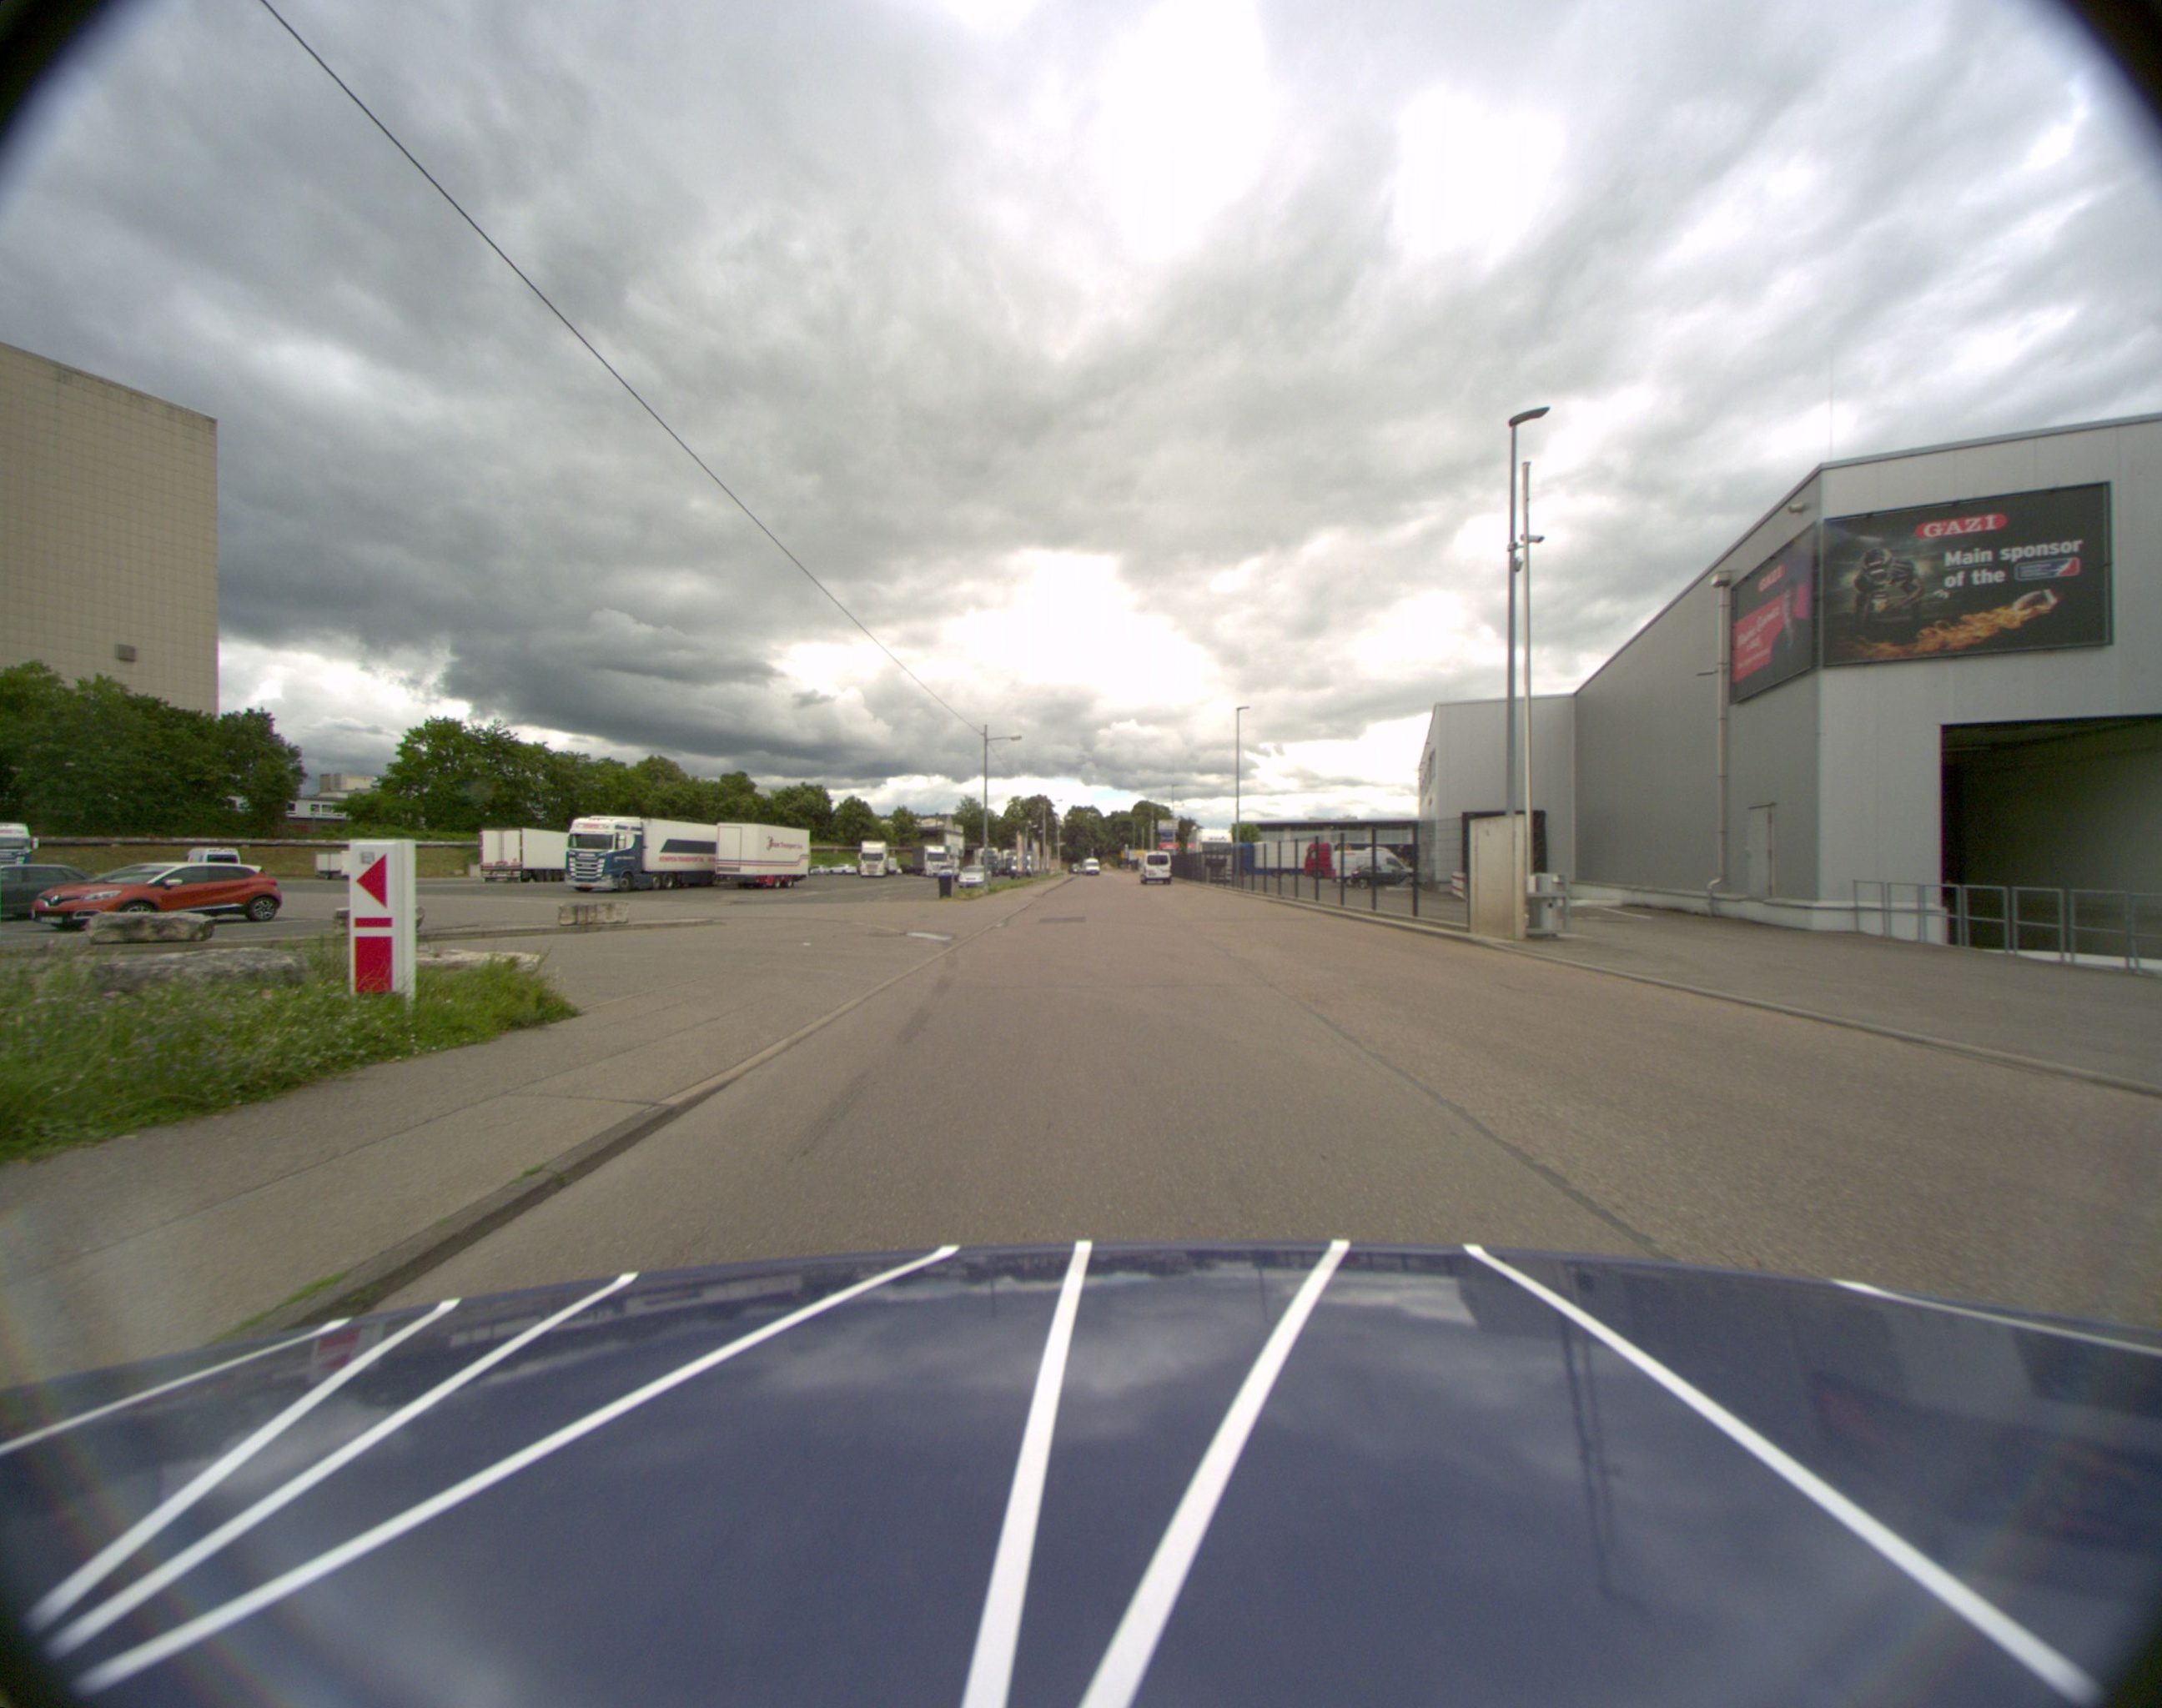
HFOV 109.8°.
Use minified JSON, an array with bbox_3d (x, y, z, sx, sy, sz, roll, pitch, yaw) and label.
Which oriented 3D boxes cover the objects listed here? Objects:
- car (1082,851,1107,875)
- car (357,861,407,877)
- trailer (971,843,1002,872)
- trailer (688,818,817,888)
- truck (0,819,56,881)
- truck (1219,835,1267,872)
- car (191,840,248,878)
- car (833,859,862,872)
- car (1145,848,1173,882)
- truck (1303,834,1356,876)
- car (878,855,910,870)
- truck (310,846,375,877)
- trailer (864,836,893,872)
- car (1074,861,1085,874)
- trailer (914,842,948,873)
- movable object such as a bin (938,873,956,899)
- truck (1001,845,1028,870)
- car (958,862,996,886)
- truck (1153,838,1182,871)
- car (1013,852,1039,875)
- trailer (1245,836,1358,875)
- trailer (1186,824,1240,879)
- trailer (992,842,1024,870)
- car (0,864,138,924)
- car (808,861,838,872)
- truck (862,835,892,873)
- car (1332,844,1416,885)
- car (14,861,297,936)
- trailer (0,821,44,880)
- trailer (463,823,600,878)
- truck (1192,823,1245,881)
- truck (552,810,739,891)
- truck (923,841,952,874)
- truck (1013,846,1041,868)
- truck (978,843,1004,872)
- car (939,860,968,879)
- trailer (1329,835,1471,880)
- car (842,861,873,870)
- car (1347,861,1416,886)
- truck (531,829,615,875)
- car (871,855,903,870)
[{"bbox_3d":[1.994,1.369,115.514,3.339,3.586,8.669,0,0,-2],"label":"car"},{"bbox_3d":[-62.701,1.347,68.164,4.137,1.346,2.004,0,0,28],"label":"car"},{"bbox_3d":[-14.236,0.488,113.257,2.841,4.070,13.379,1,0,-14],"label":"trailer"},{"bbox_3d":[-20.595,-0.028,48.642,2.964,3.944,10.409,2,0,4],"label":"trailer"},{"bbox_3d":[-71.742,-0.255,50.310,7.236,3.941,3.719,0,0,29],"label":"truck"},{"bbox_3d":[18.803,-0.075,88.263,4.877,4.108,3.049,2,0,2],"label":"truck"},{"bbox_3d":[-66.362,0.399,58.500,5.072,2.820,2.112,0,0,33],"label":"car"},{"bbox_3d":[-35.564,1.762,115.741,3.989,1.862,2.004,0,0,31],"label":"car"},{"bbox_3d":[5.867,0.838,57.051,1.997,2.401,5.259,-1,0,6],"label":"car"},{"bbox_3d":[26.458,0.105,80.818,4.869,4.180,3.054,2,0,24],"label":"truck"},{"bbox_3d":[-30.808,1.328,125.233,4.906,2.434,2.375,0,0,33],"label":"car"},{"bbox_3d":[-64.529,0.671,66.388,5.941,2.476,2.286,2,0,28],"label":"truck"},{"bbox_3d":[-24.728,0.051,93.416,2.841,4.070,13.382,1,0,-12],"label":"trailer"},{"bbox_3d":[-0.276,2.258,127.915,1.712,2.002,3.889,0,0,-4],"label":"car"},{"bbox_3d":[-20.890,0.502,105.071,2.842,4.070,13.375,1,0,-18],"label":"trailer"},{"bbox_3d":[-5.719,1.352,32.516,0.716,1.075,0.662,0,0,-5],"label":"movable object such as a bin"},{"bbox_3d":[-9.844,0.509,111.409,2.876,3.608,6.749,1,0,-13],"label":"truck"},{"bbox_3d":[-6.731,1.257,49.712,1.777,1.455,4.561,0,0,1],"label":"car"},{"bbox_3d":[10.669,0.063,94.101,3.021,3.826,5.671,2,0,2],"label":"truck"},{"bbox_3d":[-5.812,1.014,81.089,2.091,2.401,6.085,0,0,3],"label":"car"},{"bbox_3d":[25.114,0.142,86.741,12.019,4.108,3.053,2,0,20],"label":"trailer"},{"bbox_3d":[11.089,-0.132,65.255,3.366,4.136,13.854,2,0,5],"label":"trailer"},{"bbox_3d":[-11.405,0.318,117.594,2.841,4.070,13.379,1,0,-14],"label":"trailer"},{"bbox_3d":[-27.224,0.991,19.091,1.769,1.382,4.216,2,0,1],"label":"car"},{"bbox_3d":[-37.958,1.852,111.689,3.989,1.599,2.004,0,0,31],"label":"car"},{"bbox_3d":[-23.419,0.030,87.426,2.876,4.071,6.749,1,0,-12],"label":"truck"},{"bbox_3d":[20.847,0.764,54.244,5.422,2.714,2.245,-2,-1,20],"label":"car"},{"bbox_3d":[-22.425,0.999,18.723,1.769,1.562,4.216,1,0,1],"label":"car"},{"bbox_3d":[-79.705,-0.220,54.711,18.450,3.935,3.650,0,0,29],"label":"trailer"},{"bbox_3d":[-43.088,-0.198,60.464,3.644,3.887,13.724,0,0,-12],"label":"trailer"},{"bbox_3d":[10.461,-0.145,58.282,3.366,4.136,5.629,2,0,5],"label":"truck"},{"bbox_3d":[-24.684,-0.123,44.459,3.082,3.944,13.070,2,0,2],"label":"truck"},{"bbox_3d":[-18.596,0.483,98.206,2.877,4.071,6.746,1,0,-18],"label":"truck"},{"bbox_3d":[-9.251,0.517,128.415,2.832,3.689,9.091,0,0,-16],"label":"truck"},{"bbox_3d":[-12.742,0.508,107.322,2.876,3.990,6.749,1,0,-13],"label":"truck"},{"bbox_3d":[-11.260,1.383,67.341,1.769,1.561,4.000,-2,0,1],"label":"car"},{"bbox_3d":[32.583,0.283,78.133,13.156,4.188,3.054,2,0,24],"label":"trailer"},{"bbox_3d":[-34.866,1.802,118.474,4.707,1.431,2.004,0,0,33],"label":"car"},{"bbox_3d":[19.565,1.258,49.470,4.071,1.567,1.947,-2,-1,23],"label":"car"},{"bbox_3d":[-44.466,-0.150,66.875,3.632,3.856,7.249,0,0,-11],"label":"truck"},{"bbox_3d":[-31.284,1.356,122.405,4.906,2.434,2.375,0,0,33],"label":"car"}]
